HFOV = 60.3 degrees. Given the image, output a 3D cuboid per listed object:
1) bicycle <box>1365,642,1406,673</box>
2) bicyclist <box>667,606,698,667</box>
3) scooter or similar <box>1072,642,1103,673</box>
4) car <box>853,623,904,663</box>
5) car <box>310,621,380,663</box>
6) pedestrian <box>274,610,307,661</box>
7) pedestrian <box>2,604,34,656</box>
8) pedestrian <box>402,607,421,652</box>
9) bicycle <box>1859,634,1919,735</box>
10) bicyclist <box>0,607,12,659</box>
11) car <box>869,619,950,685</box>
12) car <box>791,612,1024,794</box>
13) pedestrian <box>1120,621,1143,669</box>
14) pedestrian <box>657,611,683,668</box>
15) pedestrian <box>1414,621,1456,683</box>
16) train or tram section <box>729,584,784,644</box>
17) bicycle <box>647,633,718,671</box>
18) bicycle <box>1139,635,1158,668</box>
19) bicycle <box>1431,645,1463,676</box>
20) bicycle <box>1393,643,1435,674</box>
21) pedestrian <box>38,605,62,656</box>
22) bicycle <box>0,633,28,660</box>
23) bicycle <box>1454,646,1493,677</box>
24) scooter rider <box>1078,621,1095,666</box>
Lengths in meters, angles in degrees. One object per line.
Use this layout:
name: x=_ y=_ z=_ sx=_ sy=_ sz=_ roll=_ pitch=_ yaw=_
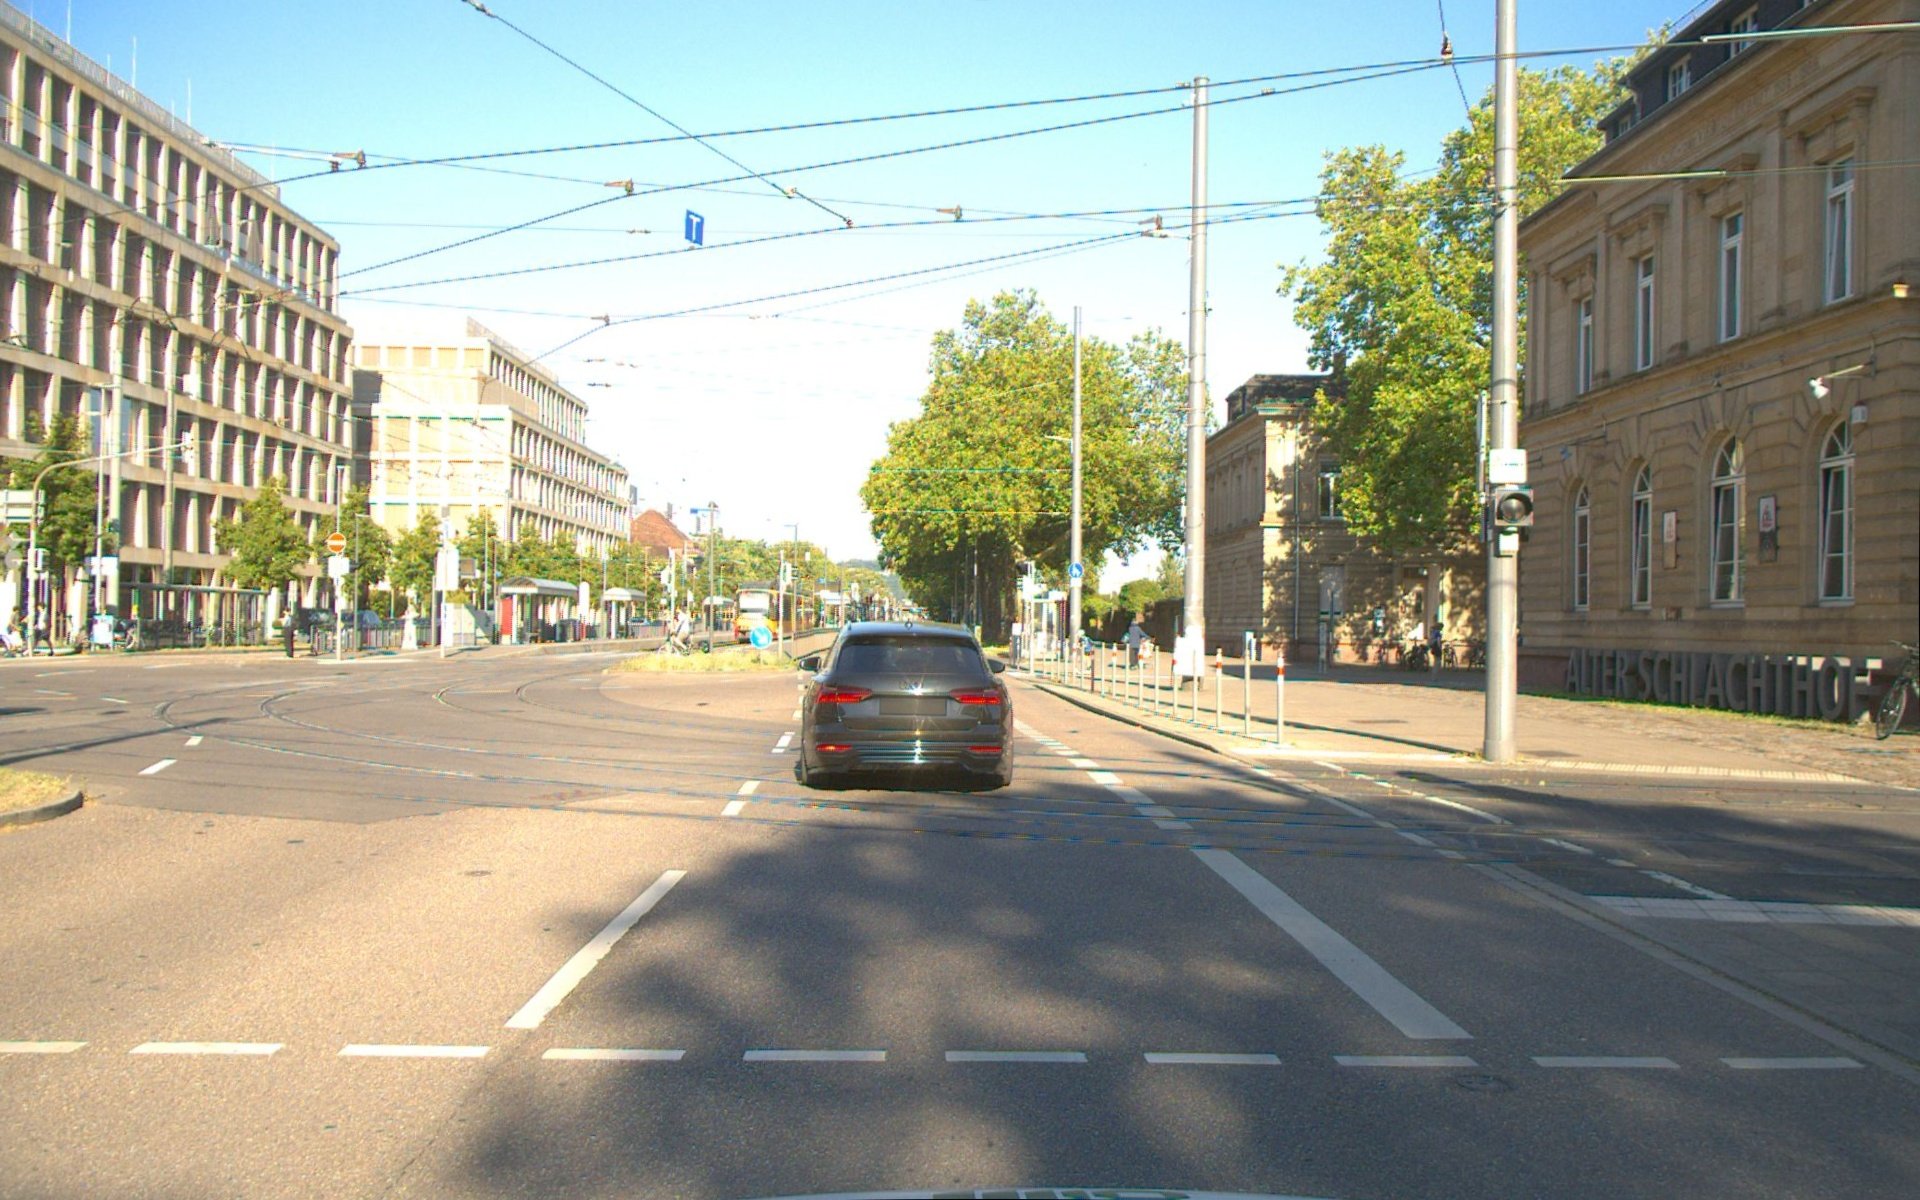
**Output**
bicycle: x=15.287 y=2.062 z=59.479 sx=0.516 sy=1.065 sz=2.354 roll=1 pitch=-1 yaw=-9
bicyclist: x=-8.444 y=1.106 z=50.397 sx=0.747 sy=1.850 sz=0.758 roll=1 pitch=-1 yaw=-25
scooter or similar: x=4.062 y=1.832 z=52.772 sx=0.920 sy=0.983 sz=0.361 roll=0 pitch=-2 yaw=-4
car: x=-3.195 y=1.700 z=65.486 sx=1.864 sy=1.512 sz=4.143 roll=1 pitch=-1 yaw=-1
car: x=-28.347 y=1.912 z=76.339 sx=1.805 sy=1.844 sz=4.111 roll=1 pitch=-1 yaw=-2
pedestrian: x=-20.843 y=1.096 z=51.496 sx=0.741 sy=1.559 sz=0.624 roll=0 pitch=-1 yaw=2
pedestrian: x=-28.632 y=0.908 z=50.257 sx=0.581 sy=1.552 sz=0.583 roll=0 pitch=-1 yaw=7
pedestrian: x=-20.690 y=1.122 z=62.416 sx=0.610 sy=1.693 sz=0.510 roll=1 pitch=-1 yaw=-26
bicycle: x=12.533 y=1.039 z=20.773 sx=2.094 sy=1.231 sz=0.765 roll=-1 pitch=-1 yaw=-3
bicyclist: x=-28.841 y=0.988 z=49.240 sx=0.689 sy=1.552 sz=0.785 roll=0 pitch=-1 yaw=7
car: x=-1.210 y=1.260 z=40.712 sx=1.864 sy=1.512 sz=4.143 roll=1 pitch=-1 yaw=-1
car: x=-0.454 y=0.884 z=15.493 sx=1.864 sy=1.447 sz=4.143 roll=1 pitch=-1 yaw=-1
pedestrian: x=6.087 y=1.579 z=58.741 sx=0.668 sy=1.690 sz=0.758 roll=1 pitch=-1 yaw=-3
pedestrian: x=-9.119 y=1.244 z=52.042 sx=0.728 sy=1.772 sz=0.661 roll=1 pitch=-1 yaw=-16
pedestrian: x=14.683 y=1.611 z=51.104 sx=0.962 sy=1.898 sz=0.823 roll=1 pitch=-1 yaw=-14
train or tram section: x=-12.585 y=0.874 z=103.100 sx=2.556 sy=3.511 sz=11.124 roll=1 pitch=-1 yaw=-3
bicycle: x=-8.447 y=1.581 z=50.348 sx=1.980 sy=1.128 sz=0.758 roll=1 pitch=-1 yaw=-26
bicycle: x=6.694 y=1.822 z=58.779 sx=0.426 sy=1.165 sz=1.339 roll=1 pitch=-1 yaw=-3
bicycle: x=17.677 y=2.174 z=60.055 sx=0.515 sy=1.065 sz=2.230 roll=1 pitch=-1 yaw=0
bicycle: x=16.330 y=2.103 z=59.487 sx=0.516 sy=1.065 sz=2.354 roll=1 pitch=-1 yaw=-9
pedestrian: x=-28.702 y=0.971 z=52.186 sx=0.588 sy=1.602 sz=0.576 roll=1 pitch=-1 yaw=-34
bicycle: x=-28.871 y=1.386 z=49.268 sx=1.932 sy=0.789 sz=0.620 roll=1 pitch=-1 yaw=7
bicycle: x=18.710 y=2.222 z=60.294 sx=0.515 sy=1.065 sz=2.228 roll=1 pitch=-1 yaw=-6
scooter rider: x=4.026 y=1.388 z=52.788 sx=0.475 sy=1.410 sz=0.377 roll=0 pitch=-2 yaw=-4
